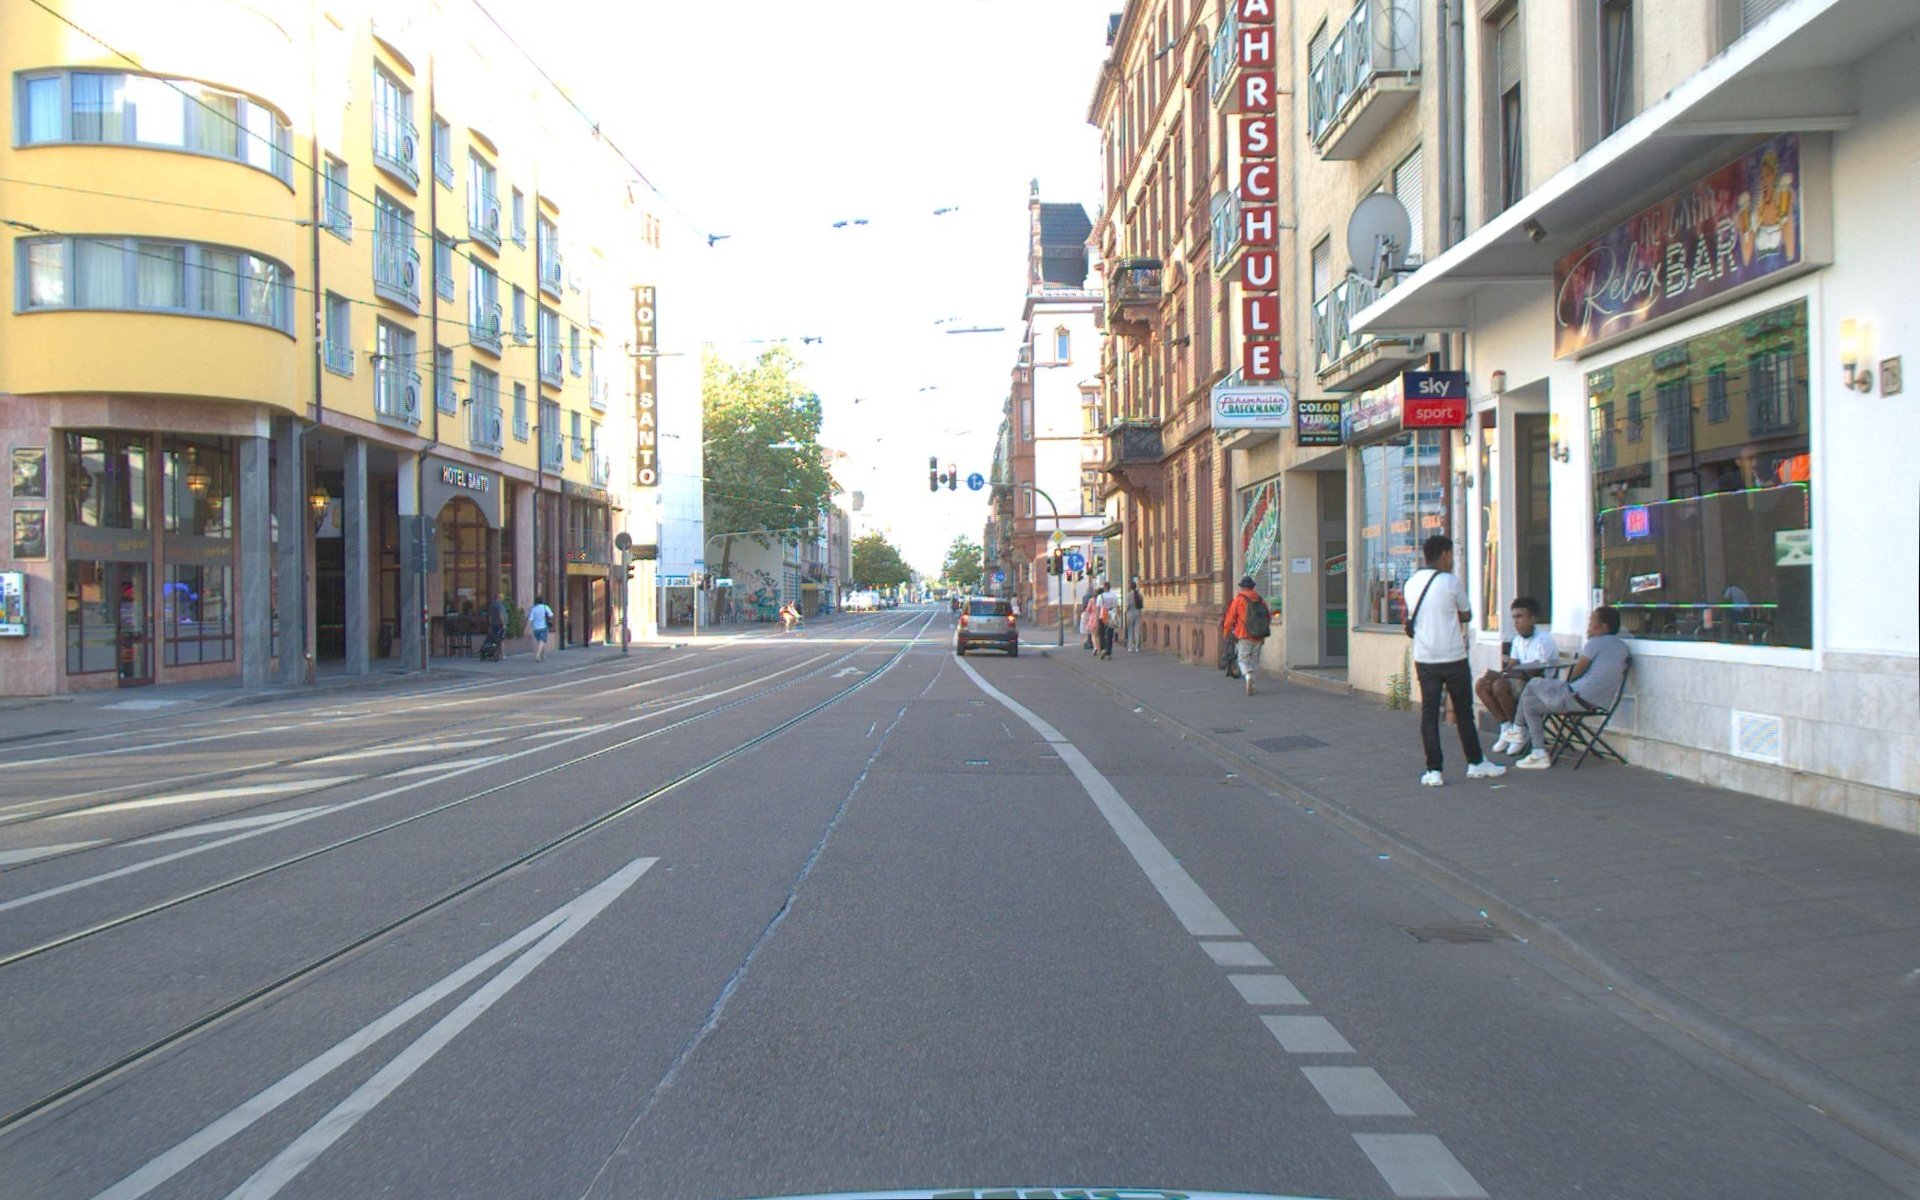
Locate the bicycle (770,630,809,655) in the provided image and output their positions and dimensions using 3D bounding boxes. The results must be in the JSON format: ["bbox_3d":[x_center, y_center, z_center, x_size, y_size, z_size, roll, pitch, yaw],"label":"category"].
[{"bbox_3d":[-7.648,1.926,74.242,1.679,1.052,0.598,2,-2,-1],"label":"bicycle"}]

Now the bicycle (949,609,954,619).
[{"bbox_3d":[-0.897,1.513,173.565,0.563,1.048,1.895,0,-1,1],"label":"bicycle"}]

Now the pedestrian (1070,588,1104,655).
[{"bbox_3d":[3.622,0.611,47.273,0.789,1.831,0.761,-4,0,-1],"label":"pedestrian"}]

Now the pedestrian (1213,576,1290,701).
[{"bbox_3d":[4.109,0.536,23.403,0.782,1.655,0.825,-6,0,-1],"label":"pedestrian"}]

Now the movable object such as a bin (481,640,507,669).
[{"bbox_3d":[-12.240,1.431,43.455,0.375,0.729,0.841,4,0,1],"label":"movable object such as a bin"}]

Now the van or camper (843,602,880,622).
[{"bbox_3d":[-13.077,1.660,220.479,4.588,2.608,1.979,1,-2,-32],"label":"van or camper"}]

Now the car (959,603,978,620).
[{"bbox_3d":[0.902,1.190,171.097,1.910,1.713,4.000,0,-1,1],"label":"car"}]

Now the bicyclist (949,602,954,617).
[{"bbox_3d":[-0.902,1.029,173.568,0.563,1.581,0.595,0,-1,1],"label":"bicyclist"}]

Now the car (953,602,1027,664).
[{"bbox_3d":[0.831,0.946,48.176,1.953,1.646,3.999,2,-1,-1],"label":"car"}]

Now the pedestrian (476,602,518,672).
[{"bbox_3d":[-12.371,0.988,44.247,0.781,1.801,0.749,4,-1,0],"label":"pedestrian"}]

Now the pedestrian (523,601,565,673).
[{"bbox_3d":[-11.246,0.988,44.717,0.736,1.850,1.045,4,-1,0],"label":"pedestrian"}]

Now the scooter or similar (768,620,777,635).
[{"bbox_3d":[-13.833,2.030,121.915,0.506,1.076,1.477,0,-1,-2],"label":"scooter or similar"}]

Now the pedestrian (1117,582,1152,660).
[{"bbox_3d":[4.464,0.533,42.356,0.677,1.941,0.670,-4,0,-2],"label":"pedestrian"}]

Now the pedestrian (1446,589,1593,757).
[{"bbox_3d":[4.641,0.601,13.727,0.822,1.277,0.698,-6,0,-35],"label":"pedestrian"}]

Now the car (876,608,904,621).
[{"bbox_3d":[-10.940,2.289,257.035,3.937,2.049,1.984,0,-1,-25],"label":"car"}]

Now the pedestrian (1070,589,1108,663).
[{"bbox_3d":[3.328,0.657,42.722,0.789,1.831,0.761,-4,0,-2],"label":"pedestrian"}]

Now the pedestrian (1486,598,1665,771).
[{"bbox_3d":[4.686,0.635,12.645,0.694,1.195,1.010,-6,0,-19],"label":"pedestrian"}]

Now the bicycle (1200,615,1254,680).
[{"bbox_3d":[4.692,0.822,29.207,0.543,1.079,2.311,-3,-1,0],"label":"bicycle"}]

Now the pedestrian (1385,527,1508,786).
[{"bbox_3d":[3.657,0.415,12.470,0.690,1.843,0.680,-6,0,15],"label":"pedestrian"}]

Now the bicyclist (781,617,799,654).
[{"bbox_3d":[-7.600,1.589,74.072,0.725,1.663,0.608,2,-2,-2],"label":"bicyclist"}]

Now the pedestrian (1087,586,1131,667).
[{"bbox_3d":[3.519,0.612,39.115,0.789,1.831,1.091,-4,0,-2],"label":"pedestrian"}]
